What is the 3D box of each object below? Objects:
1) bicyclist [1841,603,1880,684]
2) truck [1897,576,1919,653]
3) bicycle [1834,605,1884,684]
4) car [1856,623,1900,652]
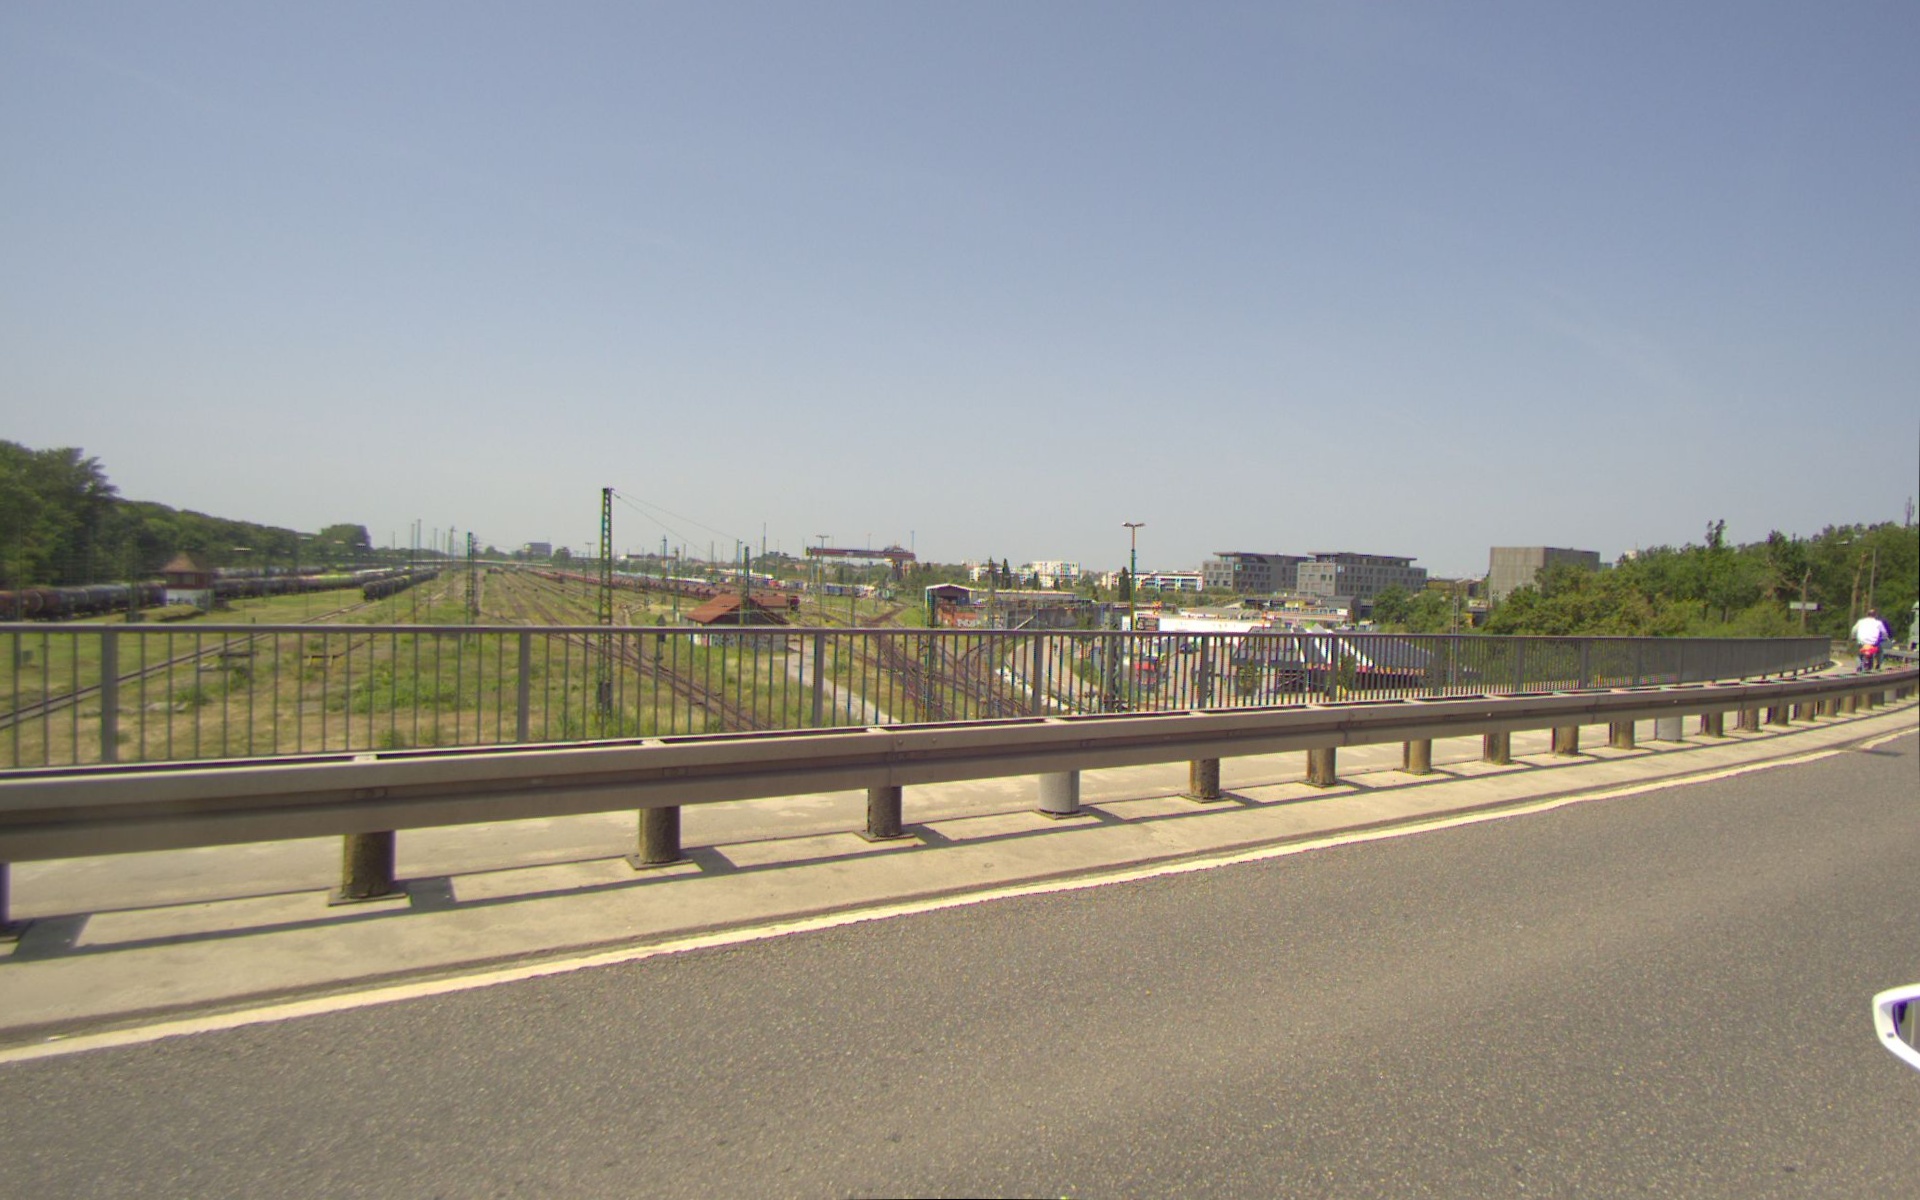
[{"bbox_3d":[21.757,1.044,24.259,0.707,1.911,0.618,0,1,-43],"label":"bicyclist"},{"bbox_3d":[58.164,0.874,58.759,3.521,4.500,6.500,1,1,31],"label":"truck"},{"bbox_3d":[21.848,1.048,24.401,2.165,1.826,0.691,0,1,-43],"label":"bicycle"},{"bbox_3d":[53.728,2.169,58.831,1.802,1.557,4.173,1,1,41],"label":"car"}]
